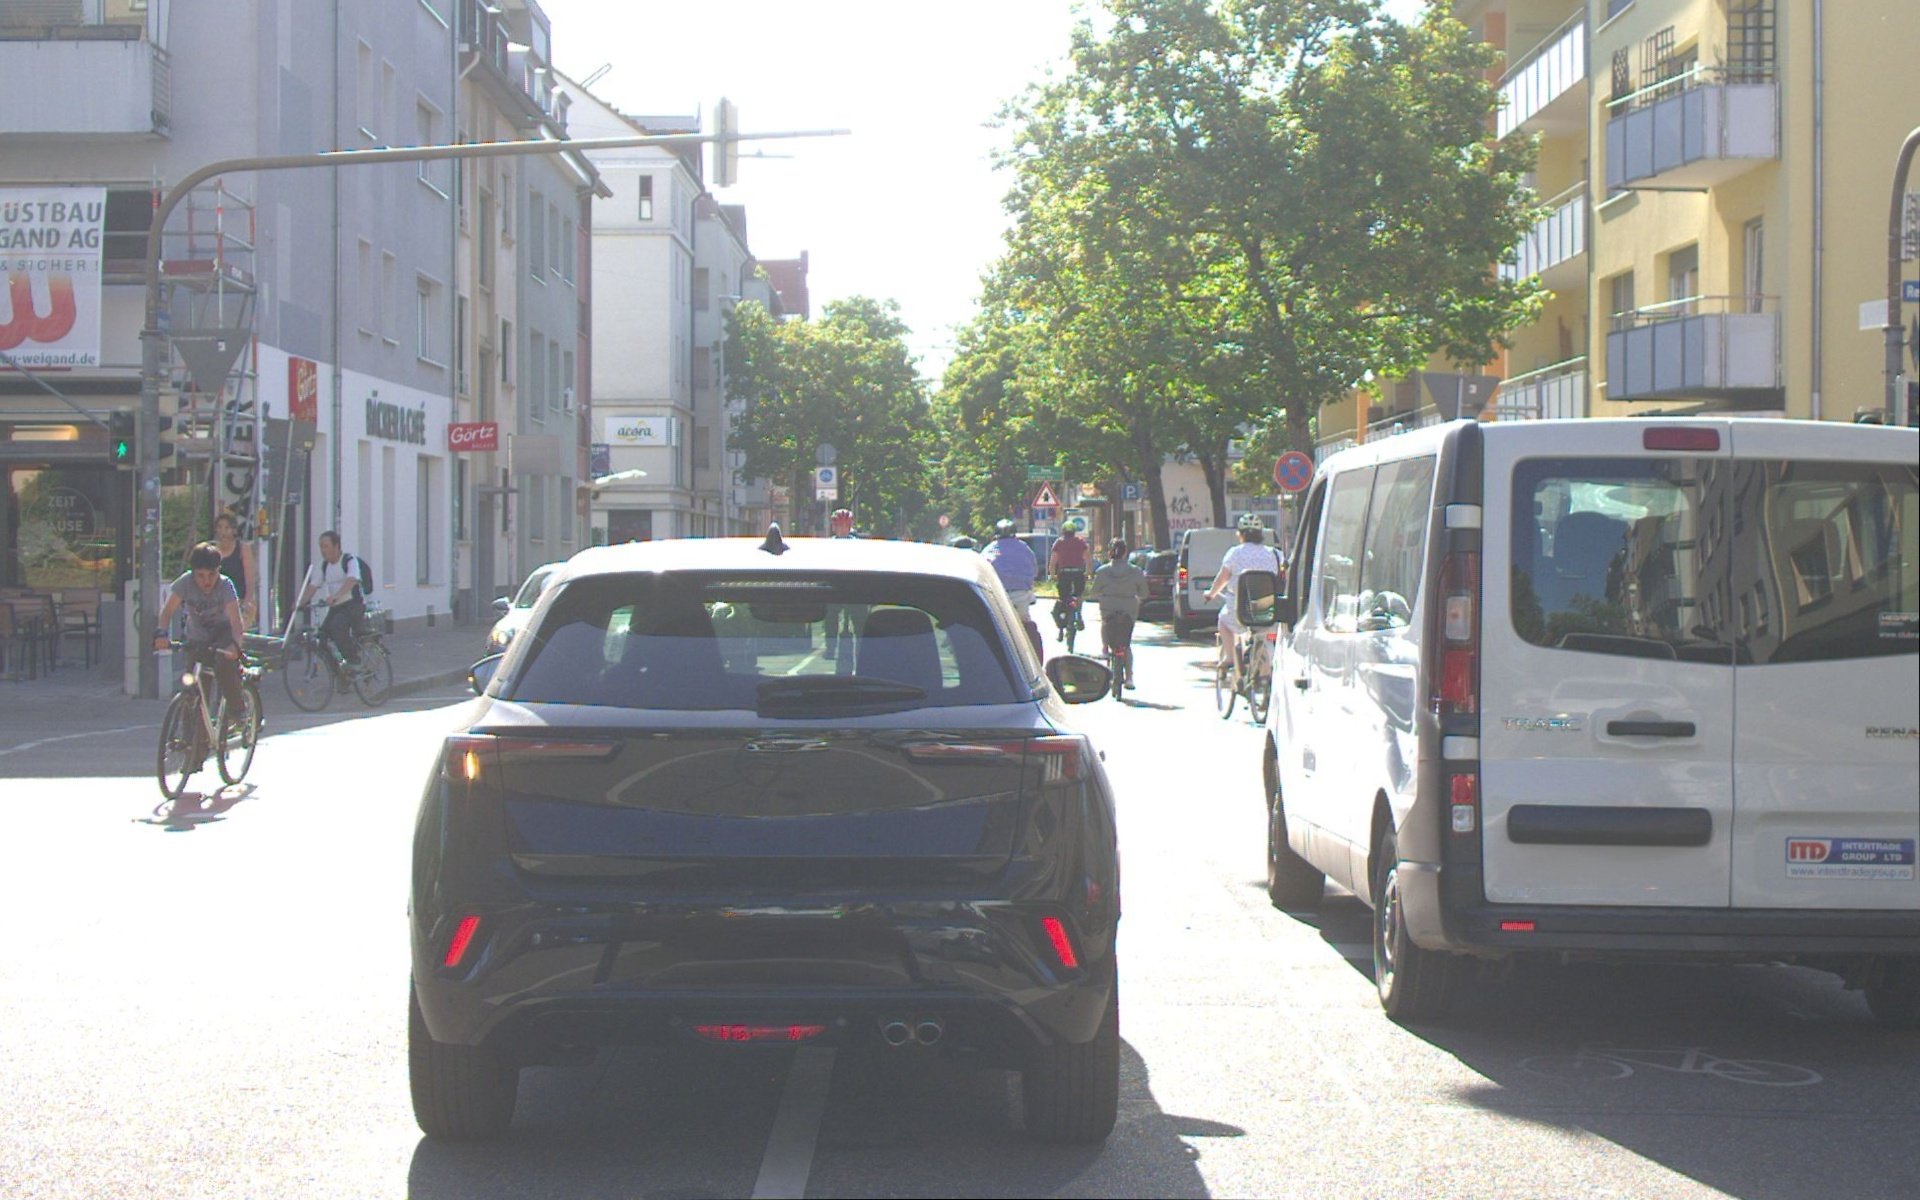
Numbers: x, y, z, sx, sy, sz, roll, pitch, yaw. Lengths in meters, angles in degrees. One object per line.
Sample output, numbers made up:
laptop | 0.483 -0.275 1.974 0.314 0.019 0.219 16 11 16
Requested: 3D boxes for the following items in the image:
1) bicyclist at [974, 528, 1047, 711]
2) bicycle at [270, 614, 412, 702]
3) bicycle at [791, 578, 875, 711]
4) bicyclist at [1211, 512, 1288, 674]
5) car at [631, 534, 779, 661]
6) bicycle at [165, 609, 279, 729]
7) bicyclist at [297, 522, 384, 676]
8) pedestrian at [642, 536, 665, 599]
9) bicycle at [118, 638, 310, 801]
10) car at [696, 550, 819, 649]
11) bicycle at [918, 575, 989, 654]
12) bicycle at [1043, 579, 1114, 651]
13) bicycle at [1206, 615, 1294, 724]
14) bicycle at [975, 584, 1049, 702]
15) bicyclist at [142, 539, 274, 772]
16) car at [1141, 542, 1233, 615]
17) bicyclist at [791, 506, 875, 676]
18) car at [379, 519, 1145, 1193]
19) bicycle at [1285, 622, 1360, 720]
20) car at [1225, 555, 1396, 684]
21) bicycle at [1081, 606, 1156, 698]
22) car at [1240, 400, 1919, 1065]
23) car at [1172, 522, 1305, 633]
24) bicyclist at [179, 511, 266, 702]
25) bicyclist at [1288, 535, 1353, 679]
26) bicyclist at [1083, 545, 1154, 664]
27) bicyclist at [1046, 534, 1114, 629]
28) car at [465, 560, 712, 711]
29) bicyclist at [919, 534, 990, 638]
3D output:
bicyclist | 0.466 0.170 31.860 0.632 1.663 1.050 0 1 -1
bicycle | -6.325 0.579 35.218 0.554 0.831 2.130 1 1 15
bicycle | -1.272 0.420 34.049 0.801 1.251 2.139 0 1 -3
bicyclist | 2.486 -0.067 29.579 0.588 1.378 0.823 0 1 1
car | -3.270 -0.049 44.678 1.592 1.560 4.089 -1 0 0
bicycle | -5.941 0.540 27.751 0.542 0.899 1.826 0 1 -1
bicyclist | -6.329 -0.017 35.150 0.554 1.543 0.814 1 1 15
pedestrian | -7.665 -0.810 85.977 0.577 1.577 0.708 0 1 -6
bicycle | -4.546 0.710 21.053 0.543 0.899 1.825 0 1 8
car | -3.154 -0.040 53.614 1.804 1.408 4.426 -2 1 -3
bicycle | -0.095 0.178 44.851 0.856 0.941 2.308 2 1 -1
bicycle | 1.688 0.206 49.307 0.856 0.941 2.308 2 1 -1
bicycle | 2.486 0.582 29.613 0.620 0.863 1.876 0 1 1
bicycle | 0.476 0.389 32.026 0.632 1.037 1.795 0 1 -1
bicyclist | -4.560 0.321 20.885 0.543 1.386 0.788 0 1 8
car | 4.756 -0.467 72.402 1.712 1.478 3.381 0 1 0
bicyclist | -1.259 -0.098 33.898 0.801 1.644 1.125 0 1 -3
car | -0.485 0.568 9.944 1.762 1.553 4.000 0 1 -1
bicycle | 3.489 0.673 33.174 0.547 0.863 1.876 0 1 1
car | 4.214 0.202 41.793 1.712 1.478 3.480 0 1 0
bicycle | 1.593 0.515 34.835 0.691 0.863 1.876 0 1 1
car | 2.286 0.369 12.727 1.968 1.933 5.056 2 1 -1
car | 4.785 -0.422 59.548 2.046 1.840 4.584 0 1 2
bicyclist | -5.937 0.047 27.715 0.542 1.515 0.774 0 1 -1
bicyclist | 3.481 0.060 33.212 0.547 1.378 0.823 0 1 1
bicyclist | 1.601 0.039 34.865 0.692 1.189 0.595 0 1 1
bicyclist | 1.710 -0.276 49.271 0.856 1.310 1.210 2 1 -1
car | -3.747 0.317 35.316 1.837 1.429 4.176 0 1 4
bicyclist | -0.081 -0.188 44.919 0.856 1.310 1.210 2 1 -1
